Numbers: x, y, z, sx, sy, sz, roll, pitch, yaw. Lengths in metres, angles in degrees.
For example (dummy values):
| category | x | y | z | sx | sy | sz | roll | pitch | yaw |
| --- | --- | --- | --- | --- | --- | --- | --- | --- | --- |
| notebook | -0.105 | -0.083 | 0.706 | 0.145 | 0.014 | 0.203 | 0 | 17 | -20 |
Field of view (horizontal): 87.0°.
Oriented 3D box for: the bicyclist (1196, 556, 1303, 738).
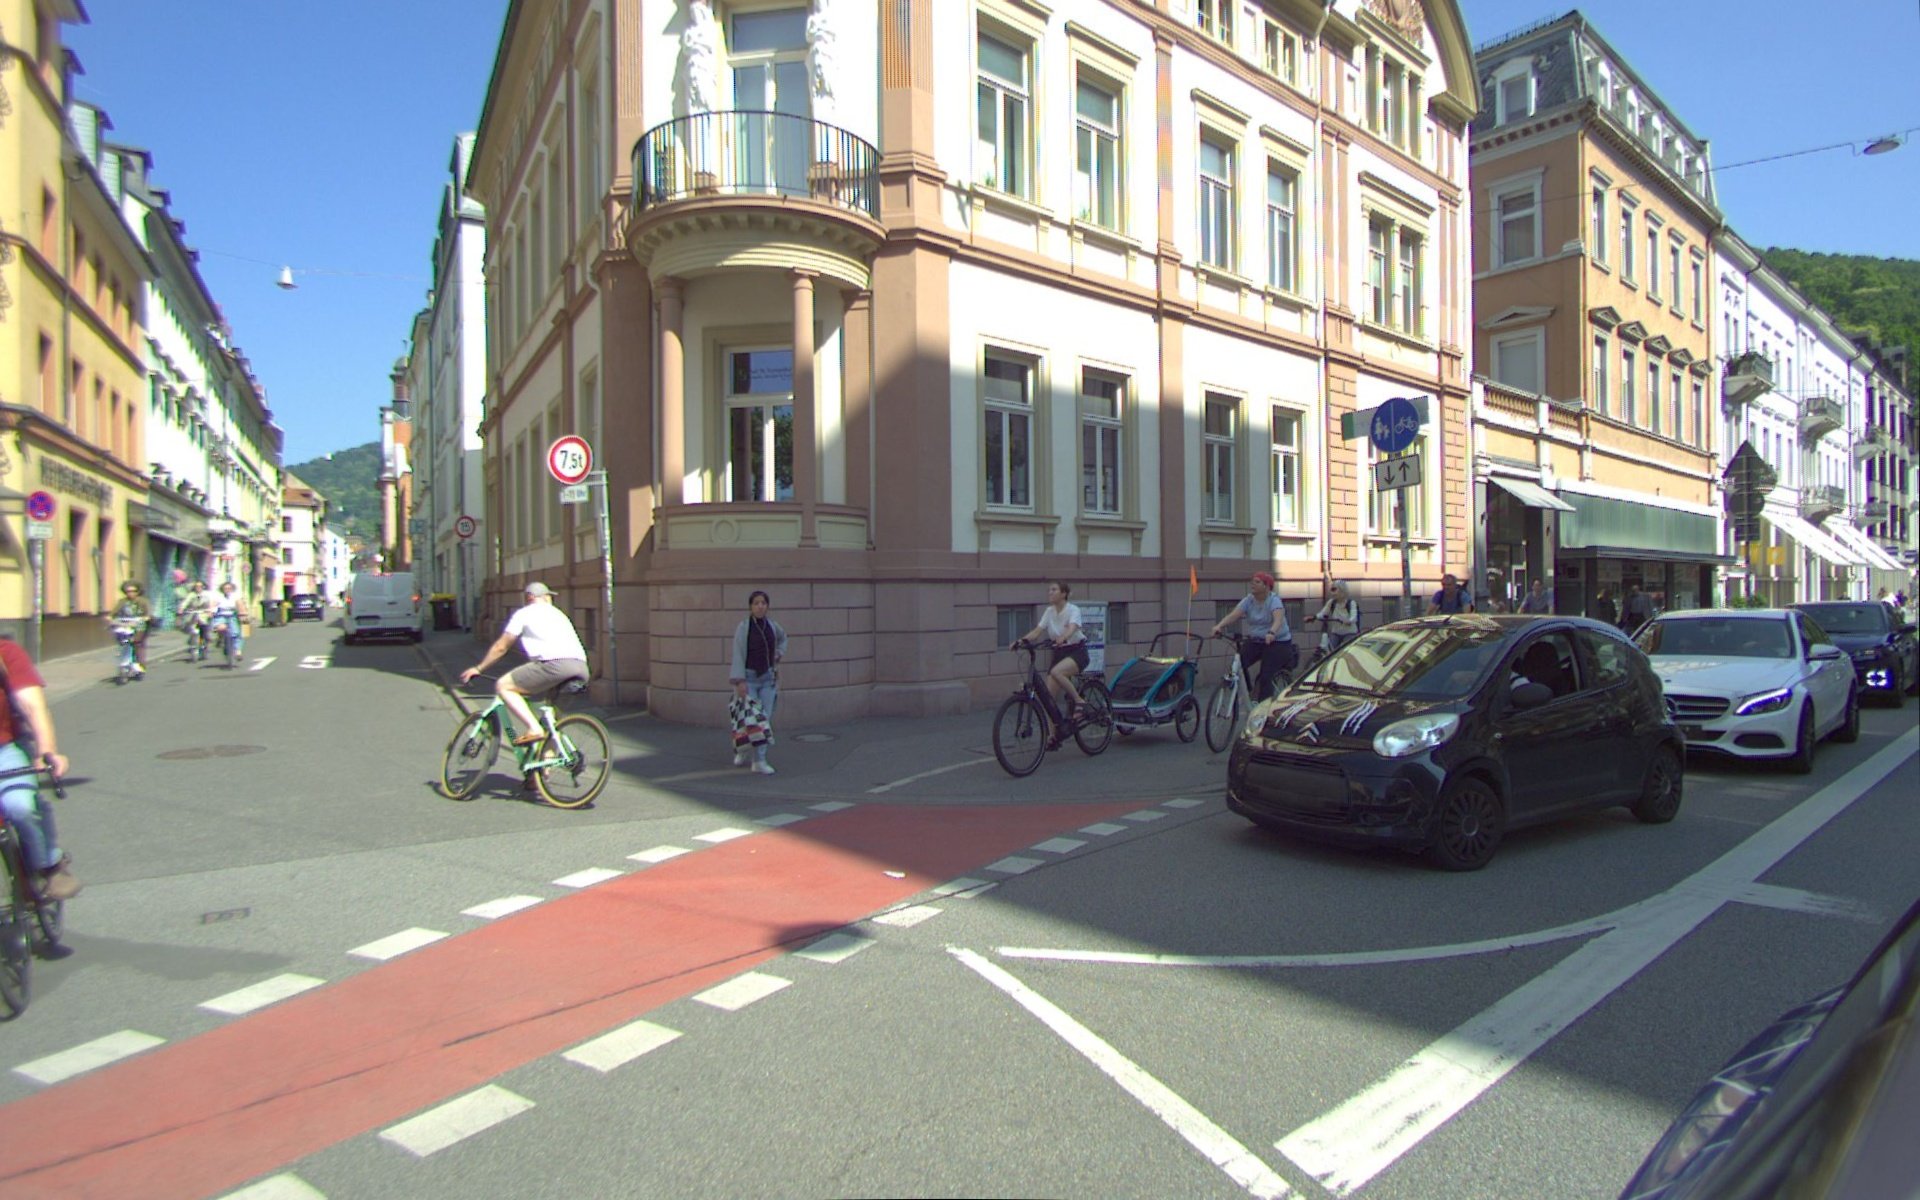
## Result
| category | x | y | z | sx | sy | sz | roll | pitch | yaw |
| --- | --- | --- | --- | --- | --- | --- | --- | --- | --- |
| bicyclist | 2.911 | 0.436 | 10.180 | 0.829 | 1.738 | 0.684 | -1 | 1 | -40 |

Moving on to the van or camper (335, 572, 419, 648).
| category | x | y | z | sx | sy | sz | roll | pitch | yaw |
| --- | --- | --- | --- | --- | --- | --- | --- | --- | --- |
| van or camper | -16.931 | 0.213 | 29.562 | 1.959 | 2.039 | 4.591 | -1 | 1 | -28 |

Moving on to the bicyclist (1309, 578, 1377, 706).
| category | x | y | z | sx | sy | sz | roll | pitch | yaw |
| --- | --- | --- | --- | --- | --- | --- | --- | --- | --- |
| bicyclist | 5.140 | 0.538 | 13.588 | 0.829 | 1.656 | 0.516 | -1 | 1 | -40 |

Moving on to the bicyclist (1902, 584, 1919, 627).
| category | x | y | z | sx | sy | sz | roll | pitch | yaw |
| --- | --- | --- | --- | --- | --- | --- | --- | --- | --- |
| bicyclist | 36.189 | 0.206 | 38.242 | 0.829 | 1.593 | 0.747 | -1 | 1 | -39 |

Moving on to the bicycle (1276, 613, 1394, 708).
| category | x | y | z | sx | sy | sz | roll | pitch | yaw |
| --- | --- | --- | --- | --- | --- | --- | --- | --- | --- |
| bicycle | 4.984 | 0.764 | 13.412 | 1.826 | 1.141 | 0.607 | 0 | 1 | -39 |

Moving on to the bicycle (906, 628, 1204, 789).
| category | x | y | z | sx | sy | sz | roll | pitch | yaw |
| --- | --- | --- | --- | --- | --- | --- | --- | --- | --- |
| bicycle | 1.001 | 0.921 | 9.546 | 3.182 | 1.141 | 0.750 | -2 | 2 | -39 |

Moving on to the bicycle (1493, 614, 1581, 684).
| category | x | y | z | sx | sy | sz | roll | pitch | yaw |
| --- | --- | --- | --- | --- | --- | --- | --- | --- | --- |
| bicycle | 10.002 | 0.815 | 17.515 | 1.885 | 1.132 | 0.747 | 0 | -1 | -42 |

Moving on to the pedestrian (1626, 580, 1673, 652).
| category | x | y | z | sx | sy | sz | roll | pitch | yaw |
| --- | --- | --- | --- | --- | --- | --- | --- | --- | --- |
| pedestrian | 17.961 | 0.398 | 26.377 | 0.754 | 1.813 | 0.840 | -1 | 1 | -39 |

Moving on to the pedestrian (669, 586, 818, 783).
| category | x | y | z | sx | sy | sz | roll | pitch | yaw |
| --- | --- | --- | --- | --- | --- | --- | --- | --- | --- |
| pedestrian | -1.946 | 0.717 | 9.206 | 0.892 | 1.631 | 0.970 | 0 | 3 | 22 |

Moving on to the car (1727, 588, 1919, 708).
| category | x | y | z | sx | sy | sz | roll | pitch | yaw |
| --- | --- | --- | --- | --- | --- | --- | --- | --- | --- |
| car | 13.326 | 0.647 | 15.280 | 4.216 | 1.511 | 1.889 | -2 | -2 | -41 |

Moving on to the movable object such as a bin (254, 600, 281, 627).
| category | x | y | z | sx | sy | sz | roll | pitch | yaw |
| --- | --- | --- | --- | --- | --- | --- | --- | --- | --- |
| movable object such as a bin | -30.500 | 0.570 | 44.595 | 0.948 | 1.162 | 1.264 | -1 | 0 | -34 |

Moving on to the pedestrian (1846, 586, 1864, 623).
| category | x | y | z | sx | sy | sz | roll | pitch | yaw |
| --- | --- | --- | --- | --- | --- | --- | --- | --- | --- |
| pedestrian | 40.925 | 0.192 | 46.279 | 0.853 | 1.689 | 0.482 | 0 | 0 | -41 |

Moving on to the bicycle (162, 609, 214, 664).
| category | x | y | z | sx | sy | sz | roll | pitch | yaw |
| --- | --- | --- | --- | --- | --- | --- | --- | --- | --- |
| bicycle | -16.967 | 0.767 | 22.290 | 0.615 | 1.141 | 2.575 | 1 | -1 | -31 |

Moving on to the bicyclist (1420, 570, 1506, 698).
| category | x | y | z | sx | sy | sz | roll | pitch | yaw |
| --- | --- | --- | --- | --- | --- | --- | --- | --- | --- |
| bicyclist | 7.127 | 0.449 | 14.341 | 0.829 | 1.739 | 0.840 | -1 | 1 | -39 |

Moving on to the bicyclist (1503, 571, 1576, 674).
| category | x | y | z | sx | sy | sz | roll | pitch | yaw |
| --- | --- | --- | --- | --- | --- | --- | --- | --- | --- |
| bicyclist | 10.075 | 0.363 | 17.589 | 0.831 | 1.738 | 0.908 | -1 | 1 | -44 |

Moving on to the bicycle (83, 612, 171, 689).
| category | x | y | z | sx | sy | sz | roll | pitch | yaw |
| --- | --- | --- | --- | --- | --- | --- | --- | --- | --- |
| bicycle | -14.279 | 0.816 | 17.411 | 0.756 | 1.141 | 2.575 | -2 | 2 | -31 |

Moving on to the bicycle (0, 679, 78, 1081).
| category | x | y | z | sx | sy | sz | roll | pitch | yaw |
| --- | --- | --- | --- | --- | --- | --- | --- | --- | --- |
| bicycle | -4.063 | 0.978 | 4.112 | 0.617 | 1.141 | 2.567 | 1 | -1 | -43 |

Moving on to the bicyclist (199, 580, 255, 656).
| category | x | y | z | sx | sy | sz | roll | pitch | yaw |
| --- | --- | --- | --- | --- | --- | --- | --- | --- | --- |
| bicyclist | -14.321 | 0.335 | 19.796 | 0.757 | 1.449 | 1.261 | 1 | 0 | -31 |

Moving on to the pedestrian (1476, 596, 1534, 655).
| category | x | y | z | sx | sy | sz | roll | pitch | yaw |
| --- | --- | --- | --- | --- | --- | --- | --- | --- | --- |
| pedestrian | 12.749 | 0.570 | 23.680 | 0.614 | 1.332 | 1.031 | 0 | 1 | -41 |

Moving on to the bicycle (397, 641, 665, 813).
| category | x | y | z | sx | sy | sz | roll | pitch | yaw |
| --- | --- | --- | --- | --- | --- | --- | --- | --- | --- |
| bicycle | -3.362 | 0.942 | 7.923 | 2.050 | 1.141 | 0.570 | 2 | 0 | 18 |

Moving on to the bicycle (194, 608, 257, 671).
| category | x | y | z | sx | sy | sz | roll | pitch | yaw |
| --- | --- | --- | --- | --- | --- | --- | --- | --- | --- |
| bicycle | -14.326 | 0.739 | 19.796 | 0.757 | 1.141 | 2.575 | 1 | -1 | -31 |

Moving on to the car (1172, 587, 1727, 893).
| category | x | y | z | sx | sy | sz | roll | pitch | yaw |
| --- | --- | --- | --- | --- | --- | --- | --- | --- | --- |
| car | 3.390 | 0.719 | 6.876 | 3.658 | 1.497 | 1.635 | -2 | 0 | -31 |

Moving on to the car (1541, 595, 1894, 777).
| category | x | y | z | sx | sy | sz | roll | pitch | yaw |
| --- | --- | --- | --- | --- | --- | --- | --- | --- | --- |
| car | 8.004 | 0.718 | 10.504 | 4.801 | 1.443 | 1.955 | -1 | -2 | -41 |

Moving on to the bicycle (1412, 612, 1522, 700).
| category | x | y | z | sx | sy | sz | roll | pitch | yaw |
| --- | --- | --- | --- | --- | --- | --- | --- | --- | --- |
| bicycle | 7.252 | 0.761 | 14.433 | 1.956 | 1.132 | 0.664 | 0 | 0 | -39 |

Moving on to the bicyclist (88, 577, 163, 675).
| category | x | y | z | sx | sy | sz | roll | pitch | yaw |
| --- | --- | --- | --- | --- | --- | --- | --- | --- | --- |
| bicyclist | -14.190 | 0.412 | 17.238 | 0.756 | 1.576 | 1.226 | -2 | 1 | -31 |

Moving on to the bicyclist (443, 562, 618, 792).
| category | x | y | z | sx | sy | sz | roll | pitch | yaw |
| --- | --- | --- | --- | --- | --- | --- | --- | --- | --- |
| bicyclist | -3.352 | 0.558 | 7.921 | 1.143 | 1.682 | 0.570 | 1 | 0 | 18 |

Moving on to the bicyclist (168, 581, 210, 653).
| category | x | y | z | sx | sy | sz | roll | pitch | yaw |
| --- | --- | --- | --- | --- | --- | --- | --- | --- | --- |
| bicyclist | -16.935 | 0.365 | 22.253 | 0.615 | 1.549 | 0.889 | 1 | -1 | -31 |

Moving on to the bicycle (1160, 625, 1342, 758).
| category | x | y | z | sx | sy | sz | roll | pitch | yaw |
| --- | --- | --- | --- | --- | --- | --- | --- | --- | --- |
| bicycle | 2.958 | 0.858 | 10.175 | 1.997 | 1.141 | 0.737 | 0 | 1 | -39 |

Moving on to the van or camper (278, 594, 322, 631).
| category | x | y | z | sx | sy | sz | roll | pitch | yaw |
| --- | --- | --- | --- | --- | --- | --- | --- | --- | --- |
| van or camper | -38.079 | 0.697 | 58.481 | 1.960 | 2.039 | 4.003 | -1 | 0 | -31 |

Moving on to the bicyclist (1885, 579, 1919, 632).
| category | x | y | z | sx | sy | sz | roll | pitch | yaw |
| --- | --- | --- | --- | --- | --- | --- | --- | --- | --- |
| bicyclist | 31.711 | 0.168 | 34.033 | 1.017 | 1.724 | 0.747 | -1 | 1 | -40 |

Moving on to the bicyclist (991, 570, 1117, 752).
| category | x | y | z | sx | sy | sz | roll | pitch | yaw |
| --- | --- | --- | --- | --- | --- | --- | --- | --- | --- |
| bicyclist | 0.874 | 0.539 | 9.438 | 0.829 | 1.593 | 0.747 | 2 | 0 | -39 |

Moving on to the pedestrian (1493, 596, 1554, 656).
| category | x | y | z | sx | sy | sz | roll | pitch | yaw |
| --- | --- | --- | --- | --- | --- | --- | --- | --- | --- |
| pedestrian | 13.425 | 0.606 | 24.106 | 0.614 | 1.332 | 1.088 | 0 | 2 | -41 |

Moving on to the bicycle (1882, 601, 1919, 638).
| category | x | y | z | sx | sy | sz | roll | pitch | yaw |
| --- | --- | --- | --- | --- | --- | --- | --- | --- | --- |
| bicycle | 31.928 | 0.652 | 34.202 | 2.527 | 1.141 | 0.743 | -1 | 2 | -39 |

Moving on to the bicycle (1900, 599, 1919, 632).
| category | x | y | z | sx | sy | sz | roll | pitch | yaw |
| --- | --- | --- | --- | --- | --- | --- | --- | --- | --- |
| bicycle | 36.212 | 0.569 | 38.306 | 2.056 | 1.140 | 0.596 | -2 | 2 | -39 |
